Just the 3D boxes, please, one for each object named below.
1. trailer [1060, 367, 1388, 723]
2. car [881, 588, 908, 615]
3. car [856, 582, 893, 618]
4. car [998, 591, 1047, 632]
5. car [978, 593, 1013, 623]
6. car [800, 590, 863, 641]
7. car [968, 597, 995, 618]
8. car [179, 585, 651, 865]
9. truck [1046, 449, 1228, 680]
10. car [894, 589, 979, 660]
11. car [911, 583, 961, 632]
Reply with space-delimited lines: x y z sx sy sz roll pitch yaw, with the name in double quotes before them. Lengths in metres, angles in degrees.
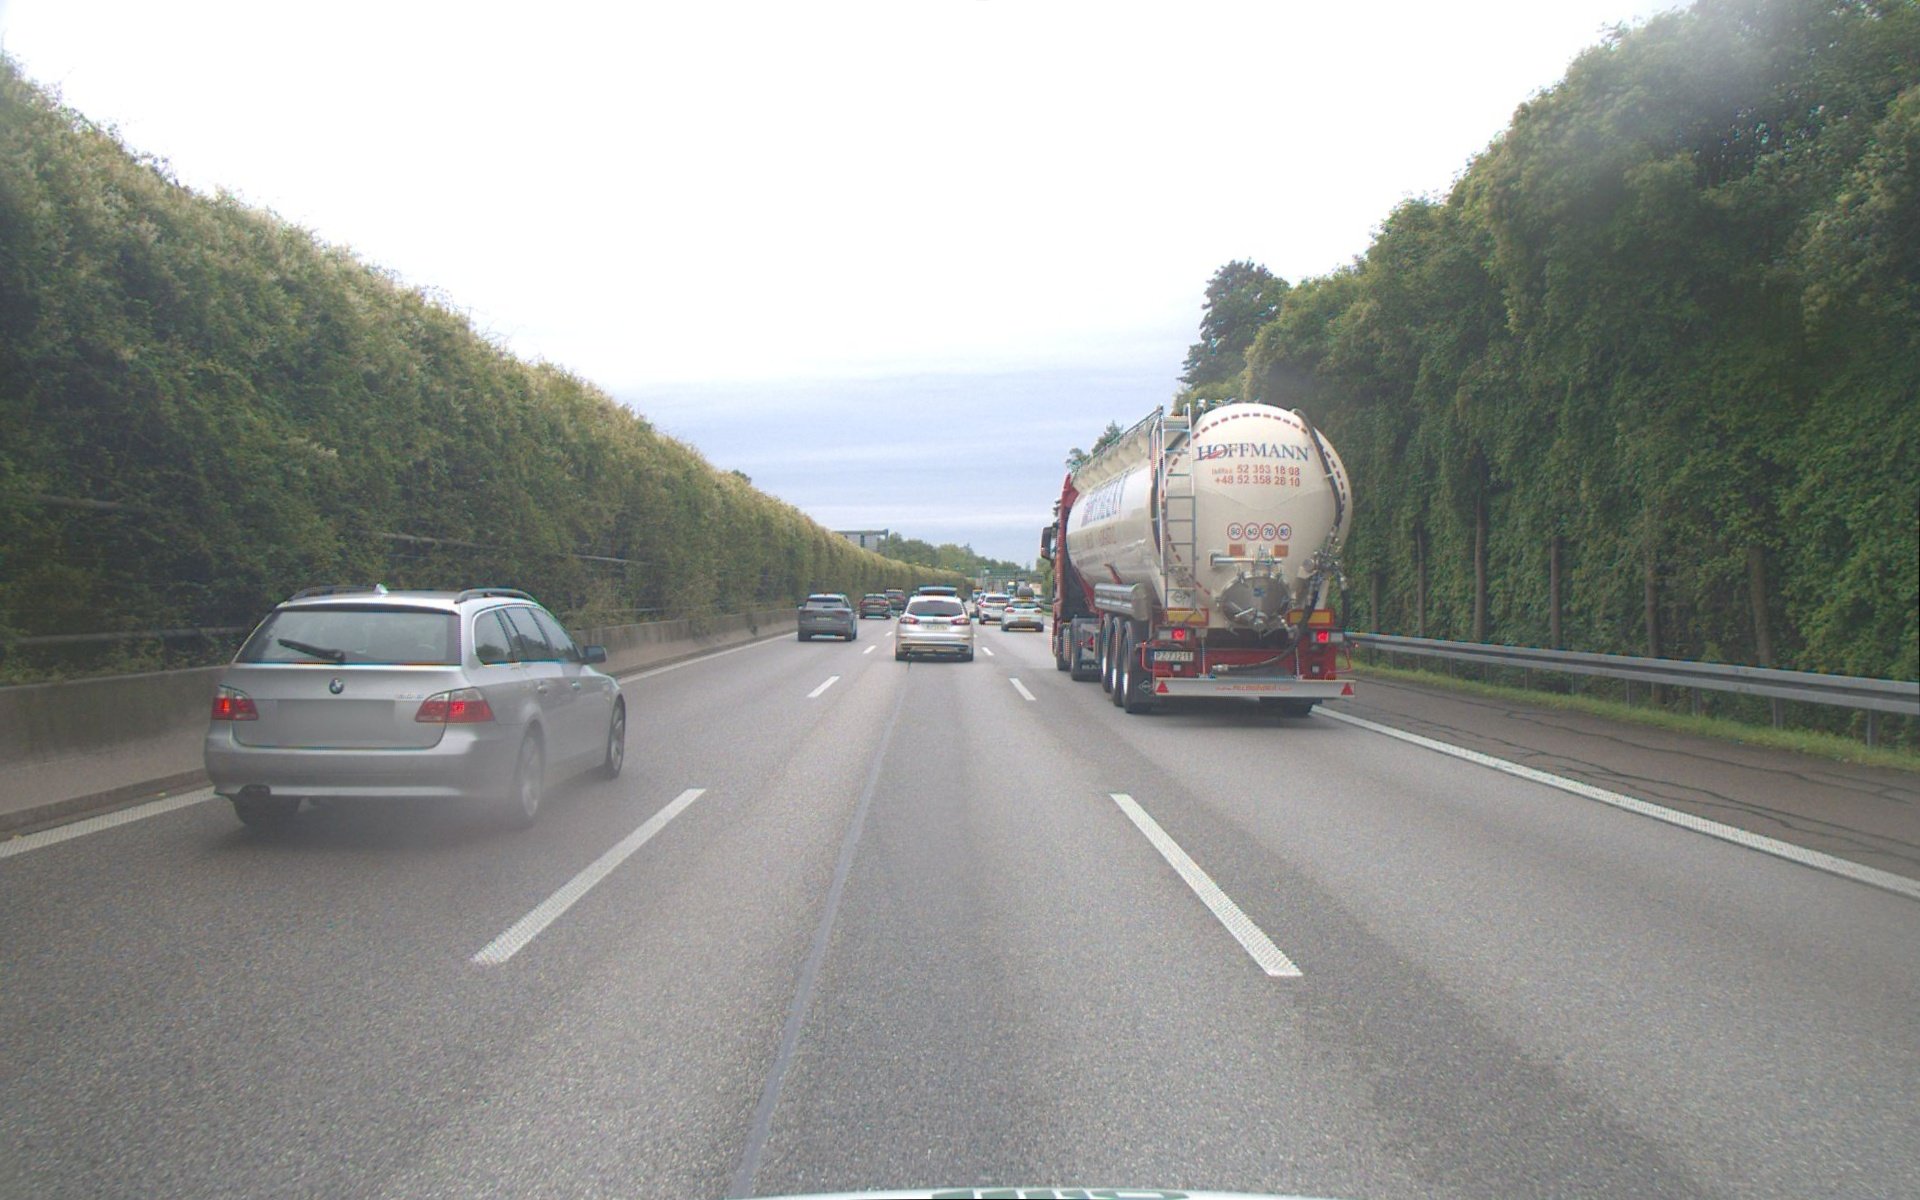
"trailer" 3.418 -0.600 25.429 2.614 4.008 13.126 1 0 -1
"car" -5.030 0.115 126.793 1.953 2.049 3.999 1 0 -1
"car" -4.999 -0.010 96.903 1.953 2.049 3.840 1 0 -1
"car" 2.658 0.460 71.090 1.779 1.654 5.028 1 0 -2
"car" 1.849 0.423 86.443 1.654 1.533 3.870 1 0 -1
"car" -4.114 0.476 53.391 1.685 1.538 5.029 1 0 -1
"car" 1.408 0.527 110.516 1.654 1.354 3.870 1 0 -1
"car" -3.472 0.668 11.626 1.685 1.494 5.029 1 1 -1
"truck" 3.269 -0.610 32.167 2.640 3.981 6.554 1 0 -1
"car" -0.542 0.536 39.223 1.853 1.530 5.029 1 0 -1
"car" -0.897 0.253 60.913 1.655 1.532 3.871 5 1 -1
